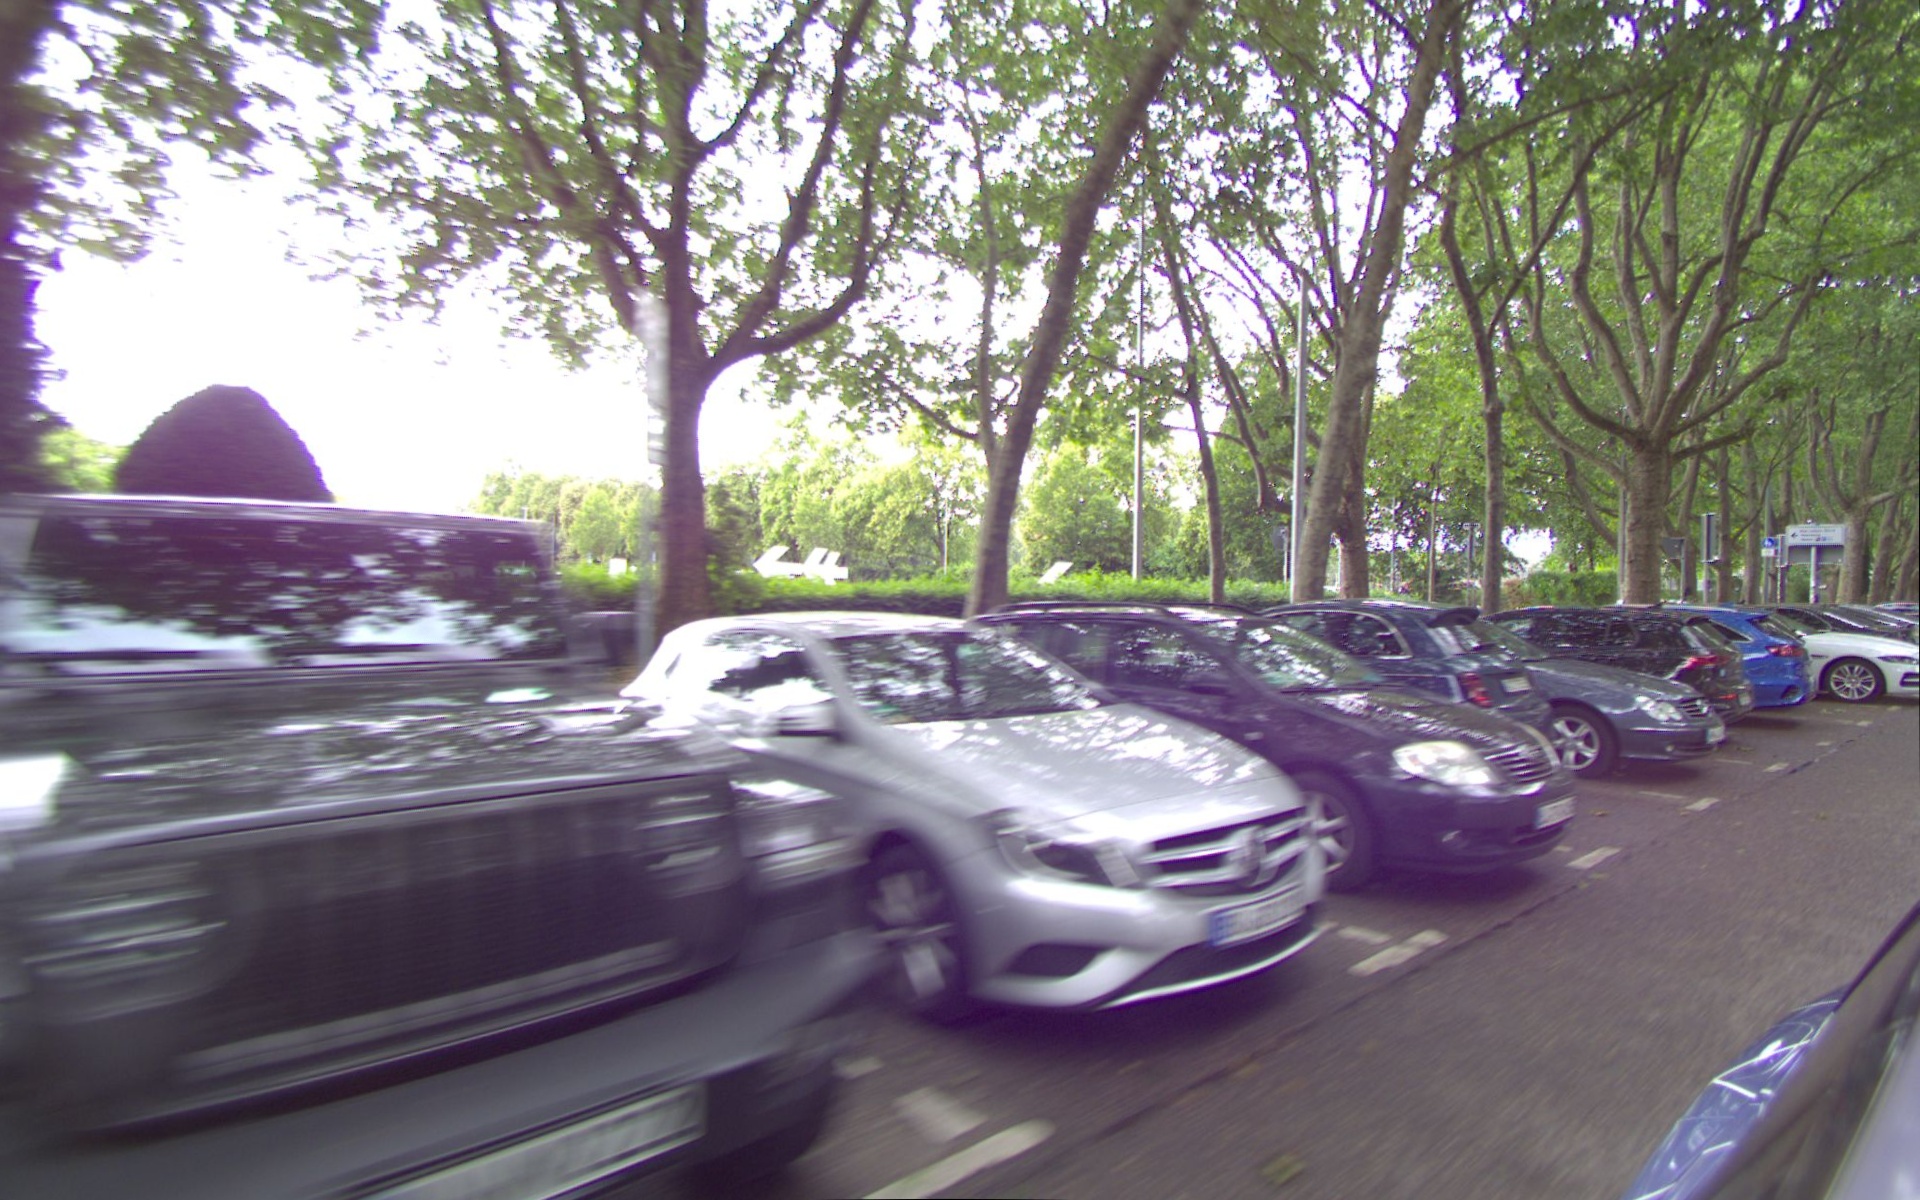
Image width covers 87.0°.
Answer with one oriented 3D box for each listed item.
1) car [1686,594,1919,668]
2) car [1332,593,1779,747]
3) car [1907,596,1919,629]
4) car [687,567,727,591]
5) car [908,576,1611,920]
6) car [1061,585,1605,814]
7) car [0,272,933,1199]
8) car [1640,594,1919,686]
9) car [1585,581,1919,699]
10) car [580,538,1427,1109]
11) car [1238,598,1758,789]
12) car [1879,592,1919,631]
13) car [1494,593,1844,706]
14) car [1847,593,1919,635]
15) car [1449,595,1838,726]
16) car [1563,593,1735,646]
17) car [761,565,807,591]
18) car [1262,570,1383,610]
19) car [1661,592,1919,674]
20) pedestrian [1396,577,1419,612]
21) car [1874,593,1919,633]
[{"bbox_3d":[18.305,0.596,21.339,1.686,1.435,4.600,0,0,-37],"label":"car"},{"bbox_3d":[6.750,0.674,11.824,1.755,1.474,4.200,1,0,-43],"label":"car"},{"bbox_3d":[47.523,0.555,47.114,1.962,1.542,4.679,0,-1,-34],"label":"car"},{"bbox_3d":[-22.736,-1.876,90.949,1.964,2.039,3.996,-1,1,-39],"label":"car"},{"bbox_3d":[1.624,0.679,6.719,1.754,1.538,4.203,-1,0,-40],"label":"car"},{"bbox_3d":[3.046,0.675,8.953,1.755,1.538,4.200,1,0,-43],"label":"car"},{"bbox_3d":[-2.328,0.503,3.503,2.013,1.890,4.499,1,-1,-43],"label":"car"},{"bbox_3d":[14.513,0.621,17.890,1.687,1.435,3.838,1,0,-39],"label":"car"},{"bbox_3d":[12.918,0.553,16.237,2.017,1.644,4.533,0,0,-39],"label":"car"},{"bbox_3d":[-0.273,0.629,5.252,2.009,1.592,4.507,1,0,-37],"label":"car"},{"bbox_3d":[5.058,0.724,9.972,1.755,1.474,4.200,1,0,-43],"label":"car"},{"bbox_3d":[39.769,0.424,40.176,1.966,1.542,4.669,0,-1,-42],"label":"car"},{"bbox_3d":[10.529,0.653,15.275,1.752,1.466,4.024,1,0,-39],"label":"car"},{"bbox_3d":[35.908,0.496,37.166,1.966,1.525,4.825,0,-1,-42],"label":"car"},{"bbox_3d":[8.930,0.684,13.431,4.016,1.466,1.883,0,-1,45],"label":"car"},{"bbox_3d":[22.154,0.574,32.684,1.754,1.480,4.284,0,2,-42],"label":"car"},{"bbox_3d":[-14.246,-1.739,81.938,1.964,2.039,3.996,-1,1,-39],"label":"car"},{"bbox_3d":[14.662,-0.415,41.089,1.754,1.480,4.284,0,2,-42],"label":"car"},{"bbox_3d":[16.273,0.581,19.743,4.019,1.435,1.880,0,0,45],"label":"car"},{"bbox_3d":[20.513,-0.275,46.434,0.685,1.587,0.725,0,0,-34],"label":"pedestrian"},{"bbox_3d":[37.706,0.499,38.357,1.966,1.496,4.378,-1,1,-42],"label":"car"}]
